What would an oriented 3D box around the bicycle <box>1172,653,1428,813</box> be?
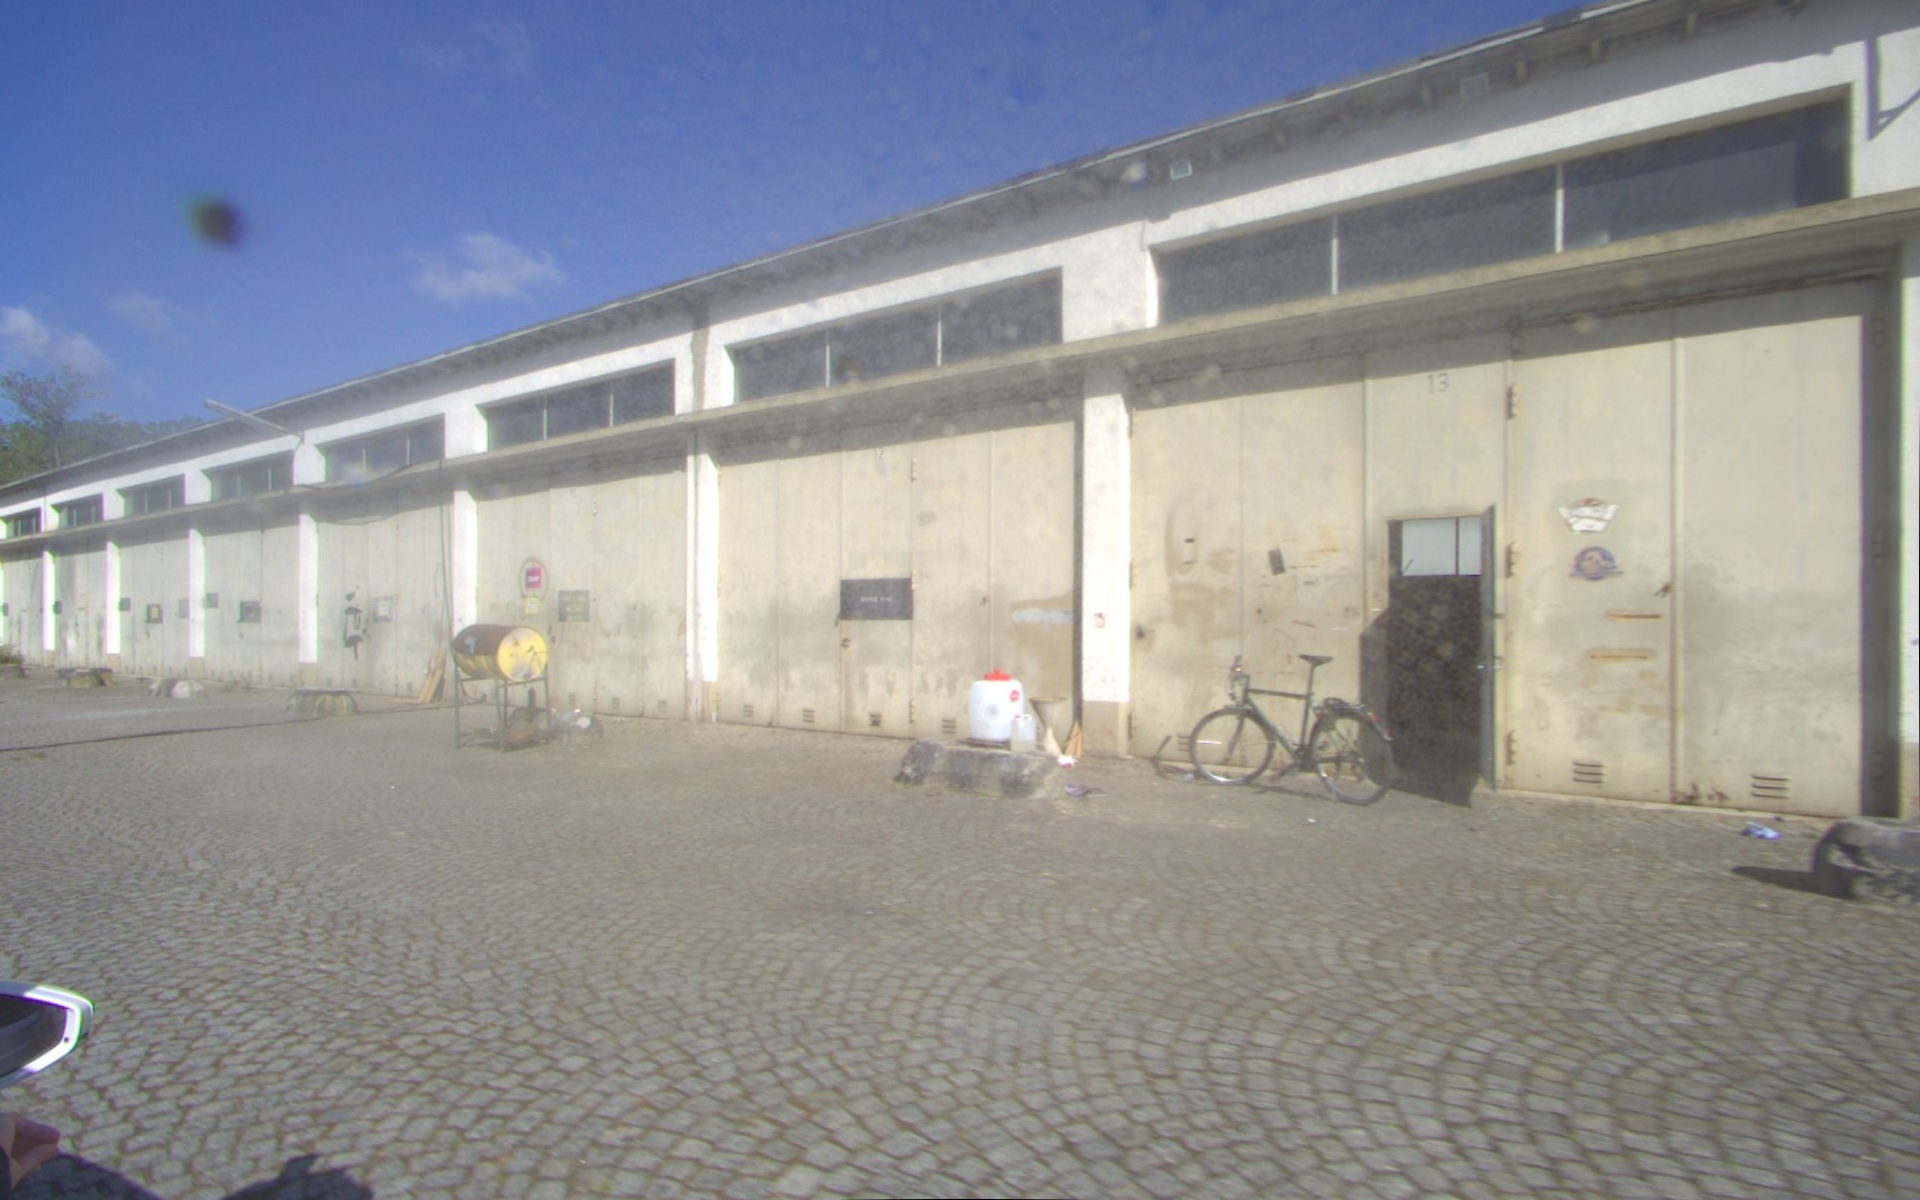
[{"bbox_3d":[2.593,0.965,7.807,0.660,1.081,1.807,2,-3,-43],"label":"bicycle"}]
